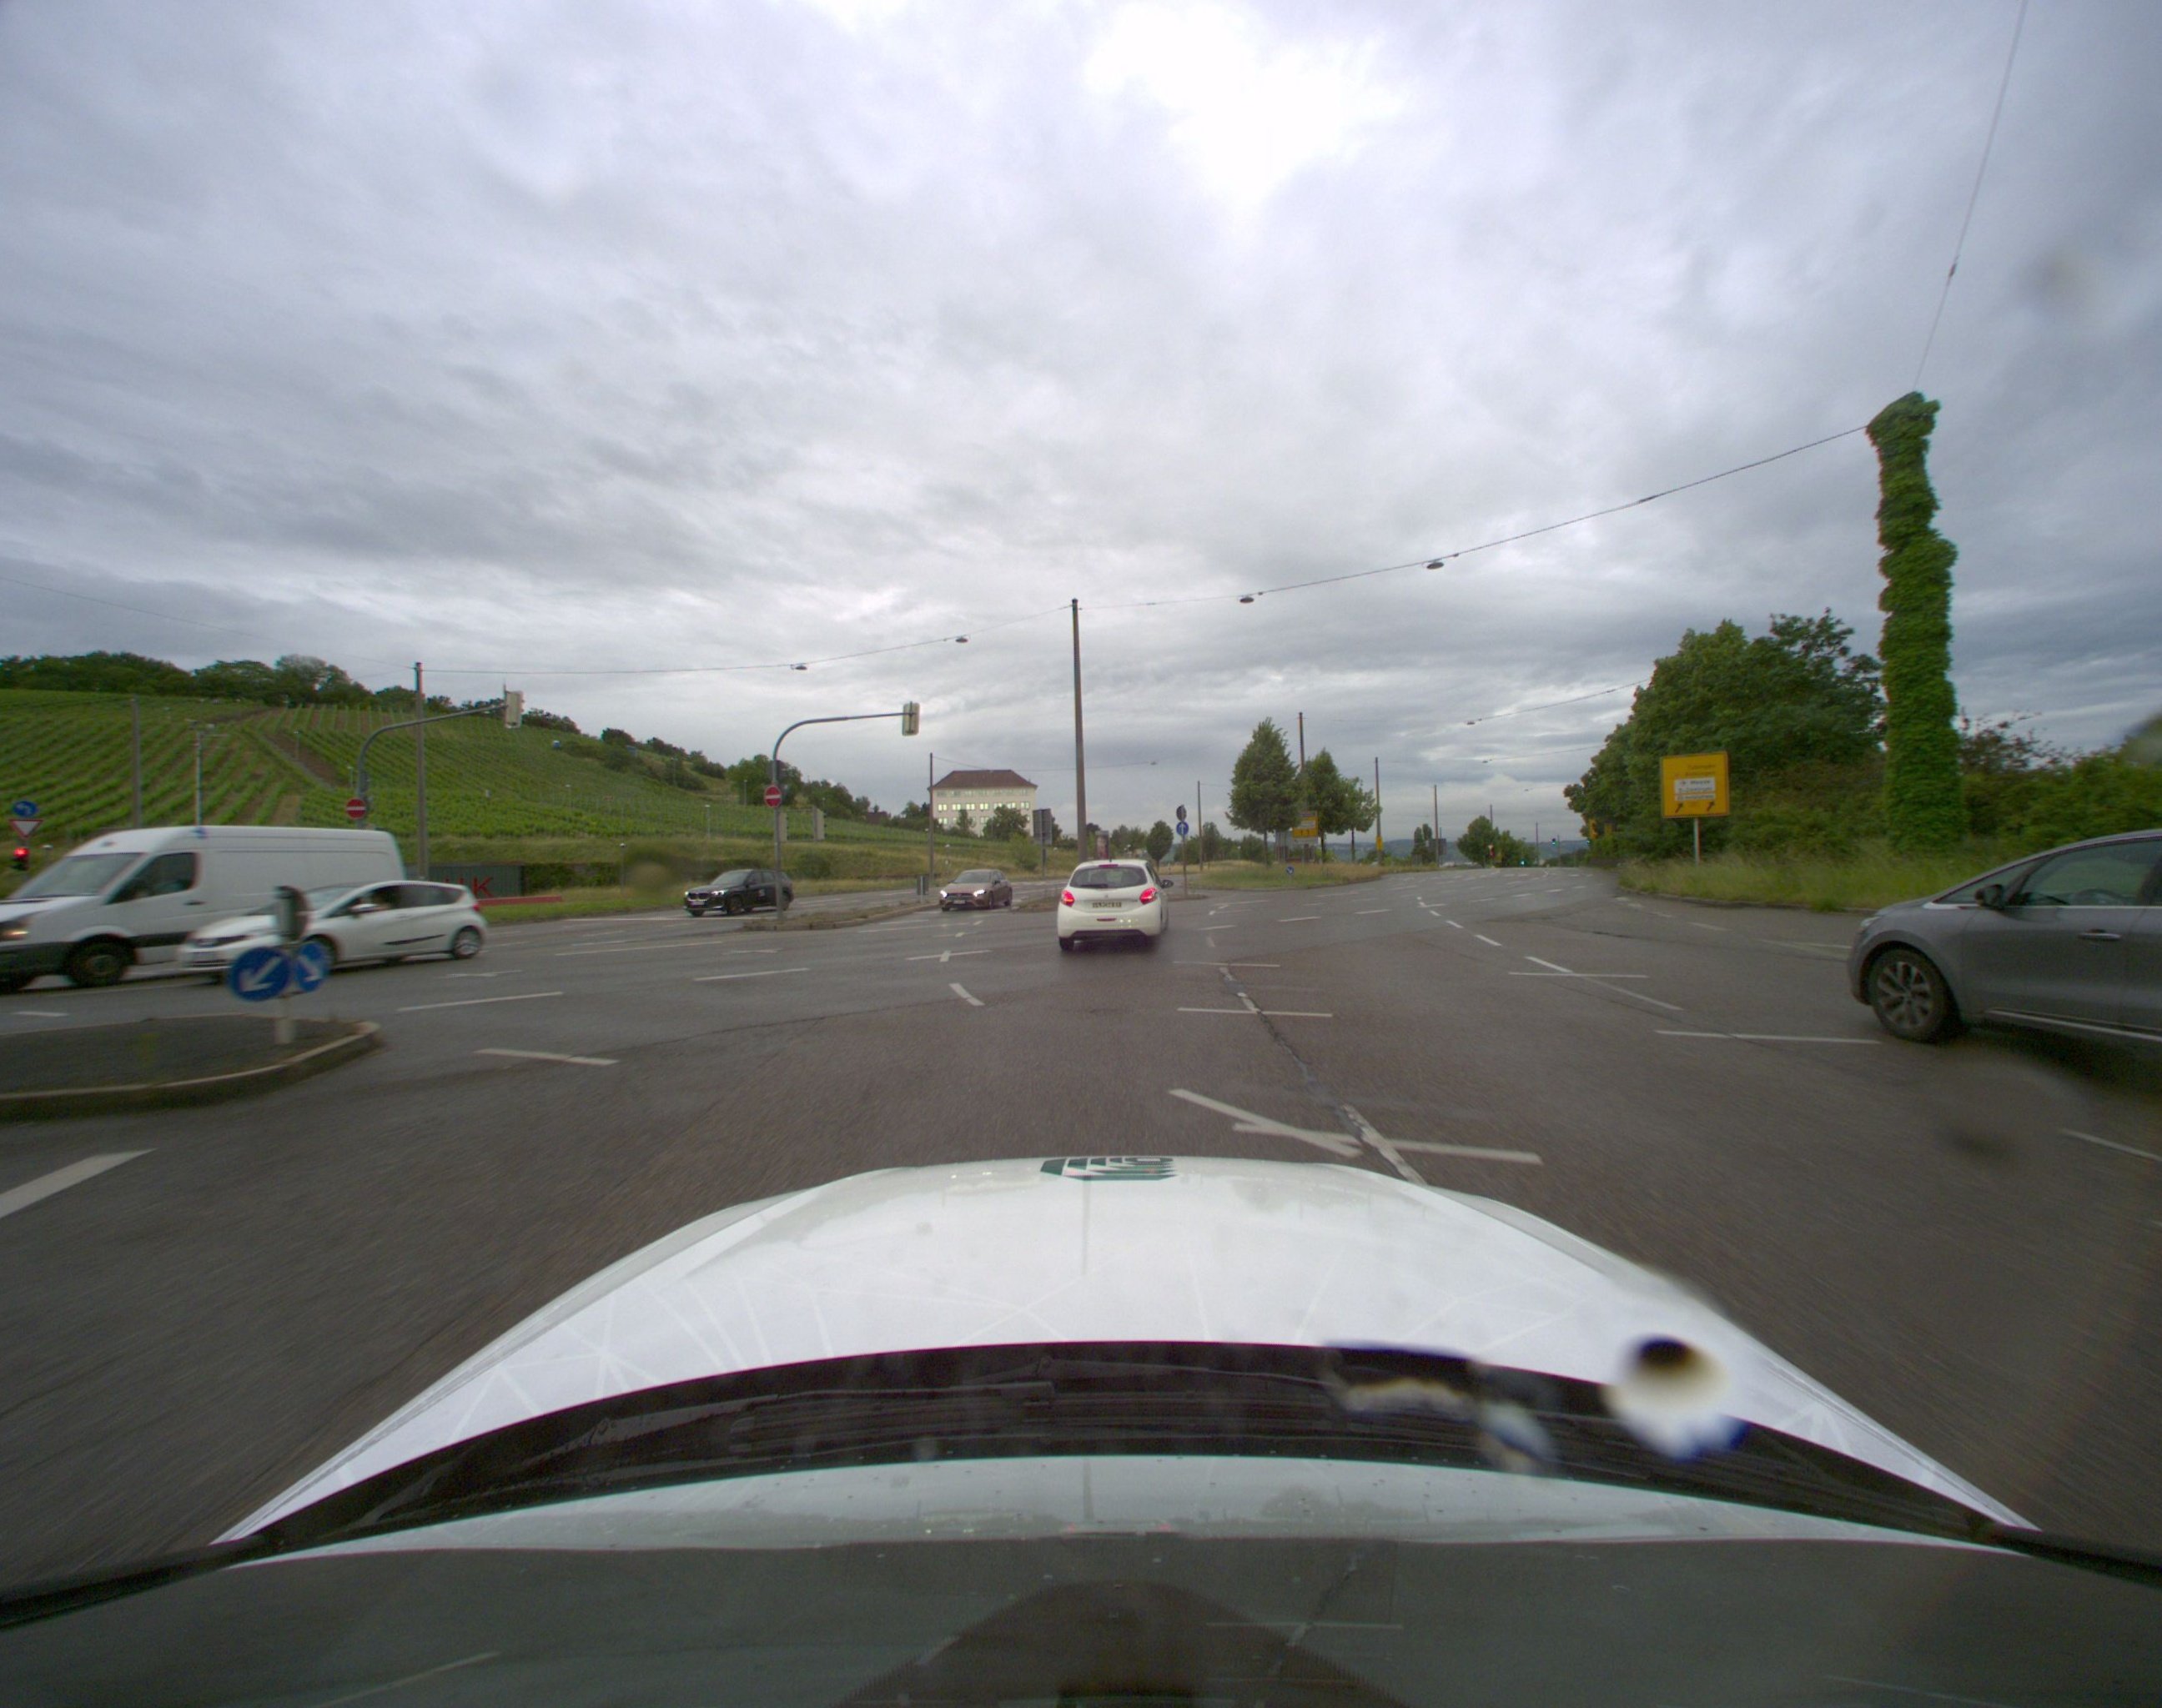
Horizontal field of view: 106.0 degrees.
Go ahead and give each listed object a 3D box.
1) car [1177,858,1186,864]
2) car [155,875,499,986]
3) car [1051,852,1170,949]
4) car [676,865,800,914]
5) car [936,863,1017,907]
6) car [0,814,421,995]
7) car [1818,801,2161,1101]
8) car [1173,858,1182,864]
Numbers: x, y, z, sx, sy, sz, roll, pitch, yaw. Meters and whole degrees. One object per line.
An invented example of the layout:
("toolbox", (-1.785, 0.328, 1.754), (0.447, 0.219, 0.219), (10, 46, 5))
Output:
("car", (25.120, 1.675, 203.268), (1.834, 1.486, 4.001), (-2, 0, 2))
("car", (-12.373, 1.150, 13.788), (1.740, 1.513, 4.011), (0, 0, 10))
("car", (0.668, 0.742, 14.621), (1.708, 1.489, 4.009), (-1, -1, 8))
("car", (-12.571, 1.244, 30.202), (1.762, 1.636, 4.527), (0, -1, 16))
("car", (-3.759, 1.084, 30.012), (1.765, 1.425, 4.384), (-2, -1, 9))
("car", (-15.743, 0.782, 14.699), (1.982, 2.559, 6.183), (-3, -1, 8))
("car", (6.995, 0.529, 4.706), (1.854, 1.674, 4.577), (-1, 0, 9))
("car", (25.066, 1.739, 211.677), (1.834, 1.486, 4.001), (-2, 0, 2))
